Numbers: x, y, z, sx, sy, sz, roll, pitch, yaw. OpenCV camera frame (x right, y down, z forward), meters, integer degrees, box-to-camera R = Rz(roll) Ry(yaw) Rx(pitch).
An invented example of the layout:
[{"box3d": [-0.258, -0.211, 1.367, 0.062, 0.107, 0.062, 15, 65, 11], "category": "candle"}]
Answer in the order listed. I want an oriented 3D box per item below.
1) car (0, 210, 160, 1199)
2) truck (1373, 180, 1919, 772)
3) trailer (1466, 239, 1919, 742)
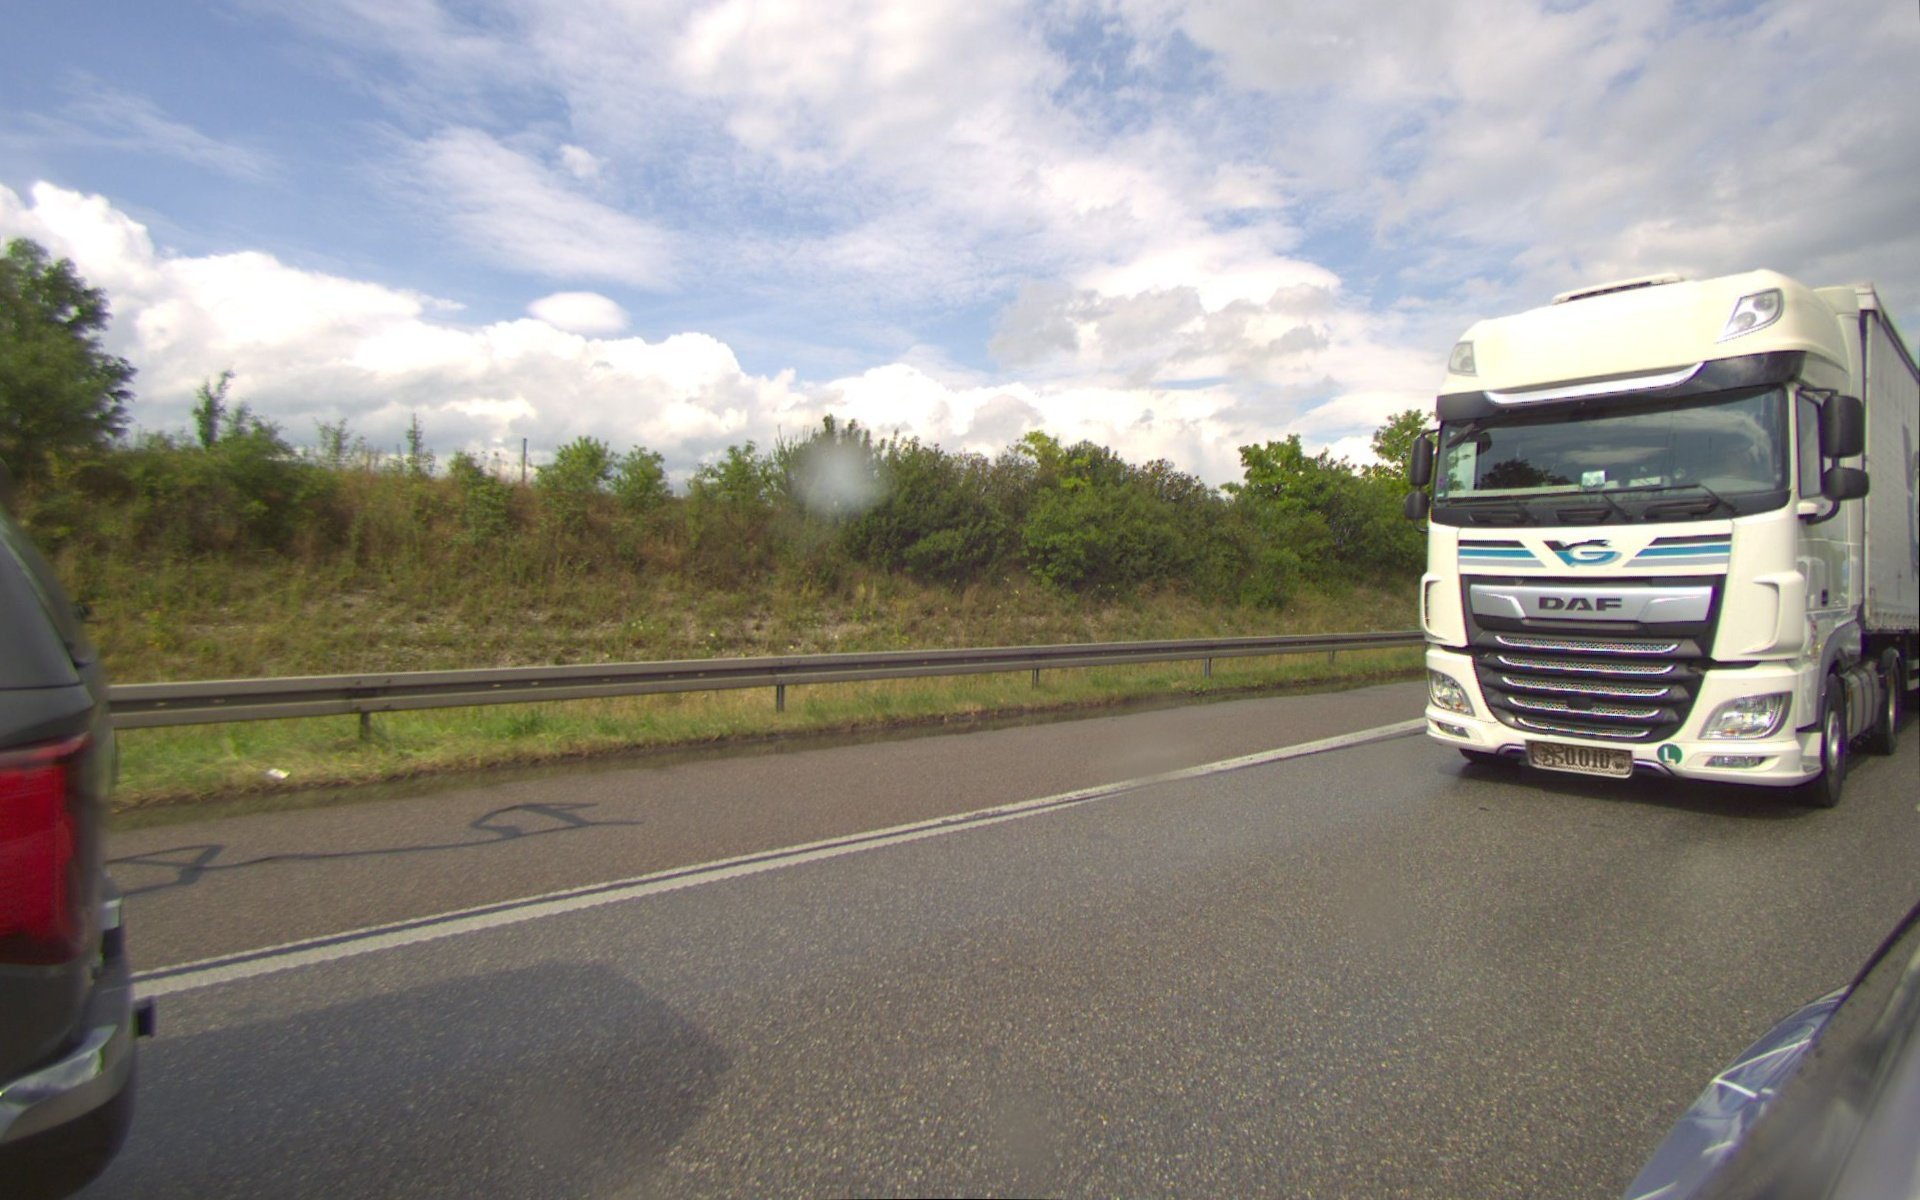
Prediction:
[{"box3d": [-3.995, 0.409, 0.511, 5.555, 1.943, 1.944, -1, 0, -42], "category": "car"}, {"box3d": [7.176, -0.834, 10.080, 6.286, 3.940, 3.288, 0, 0, -42], "category": "truck"}, {"box3d": [11.427, -0.872, 13.853, 13.886, 3.948, 3.288, 0, 0, -42], "category": "trailer"}]
